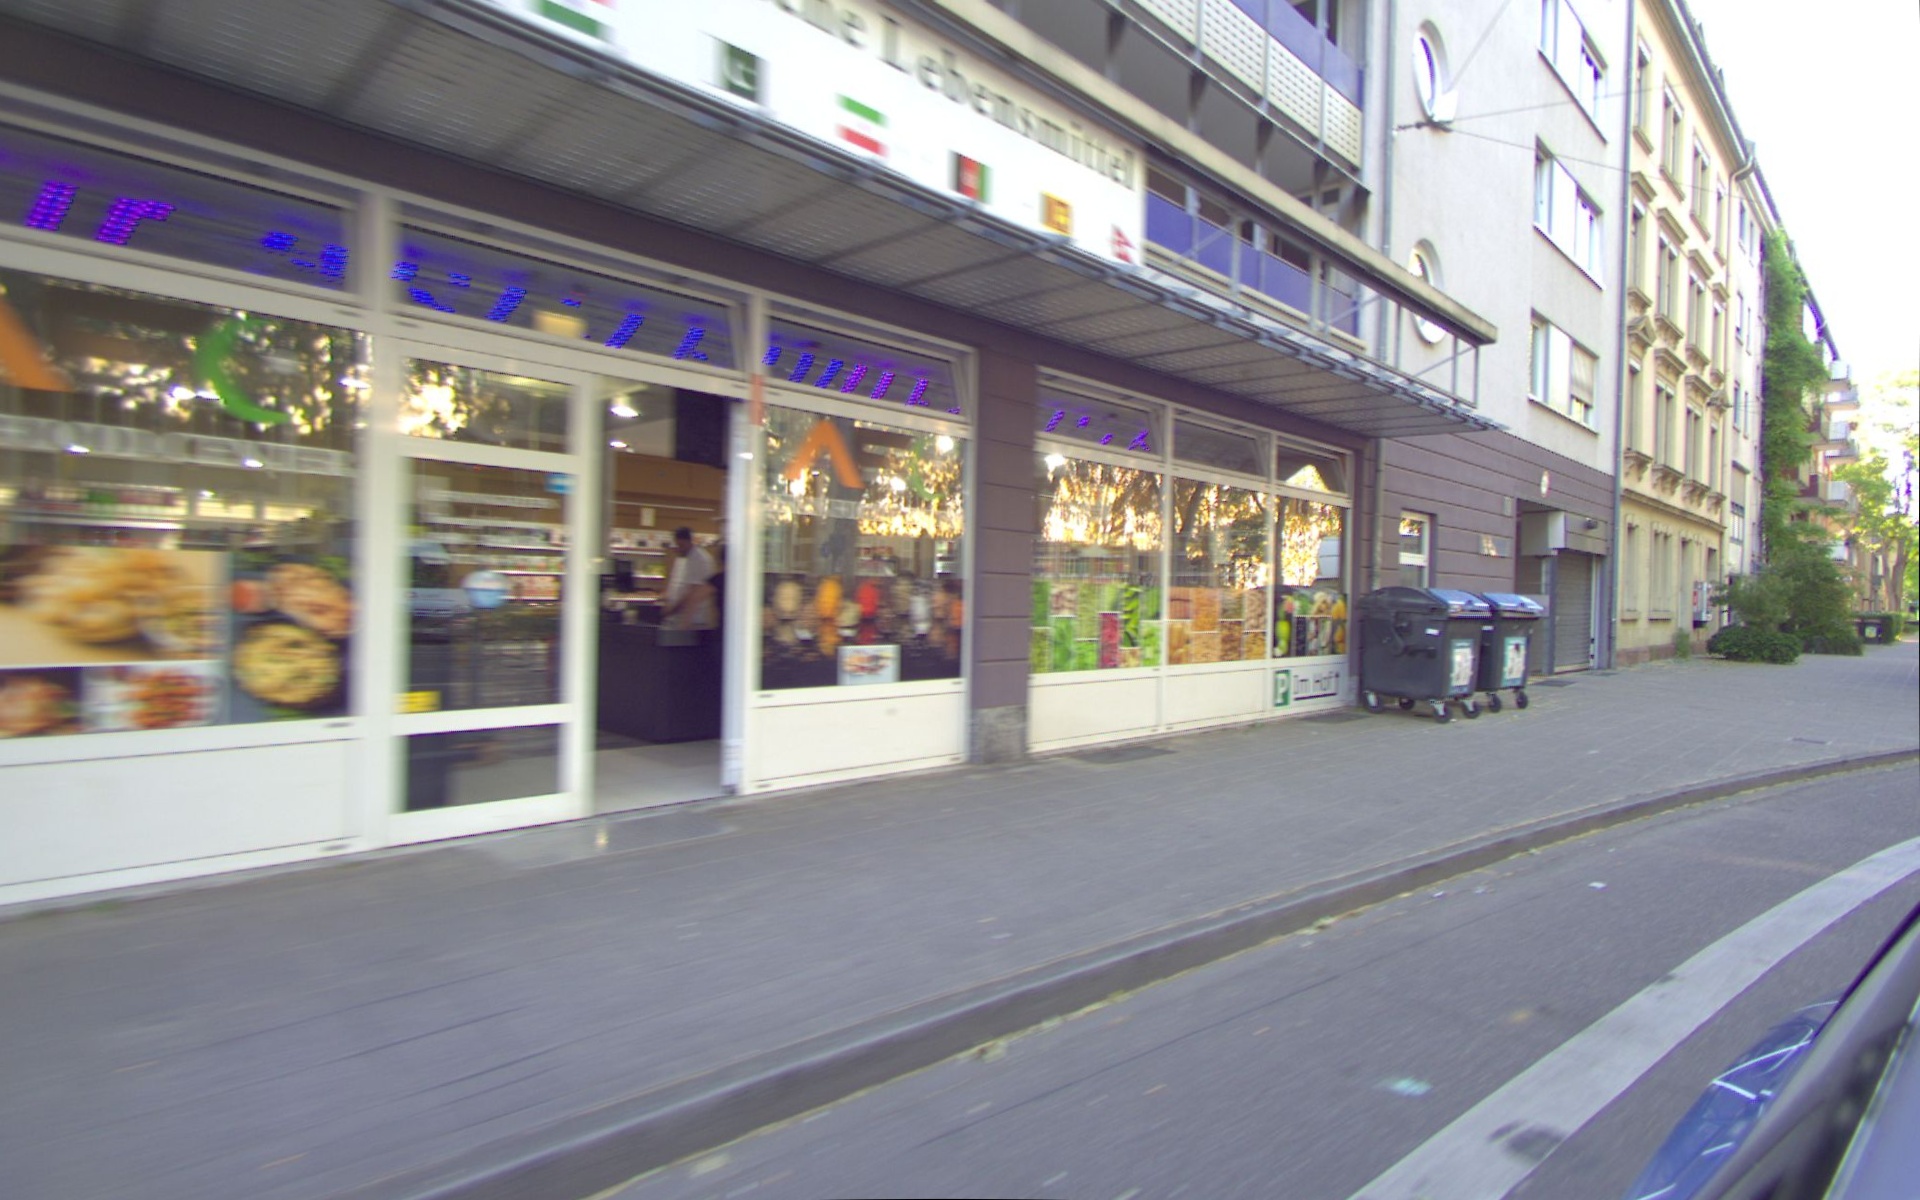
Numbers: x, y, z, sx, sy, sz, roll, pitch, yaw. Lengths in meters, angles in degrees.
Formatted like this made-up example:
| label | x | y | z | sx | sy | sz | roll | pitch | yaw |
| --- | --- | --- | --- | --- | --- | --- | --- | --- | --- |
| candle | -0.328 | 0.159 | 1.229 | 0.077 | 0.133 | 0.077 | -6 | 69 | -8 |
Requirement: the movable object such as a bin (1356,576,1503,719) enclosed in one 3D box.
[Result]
| label | x | y | z | sx | sy | sz | roll | pitch | yaw |
| --- | --- | --- | --- | --- | --- | --- | --- | --- | --- |
| movable object such as a bin | 5.249 | 0.481 | 11.308 | 1.275 | 1.464 | 1.068 | 1 | 1 | -43 |

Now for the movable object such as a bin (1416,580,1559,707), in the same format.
| label | x | y | z | sx | sy | sz | roll | pitch | yaw |
| --- | --- | --- | --- | --- | --- | --- | --- | --- | --- |
| movable object such as a bin | 6.575 | 0.504 | 12.620 | 1.282 | 1.464 | 1.123 | 1 | 1 | -39 |
